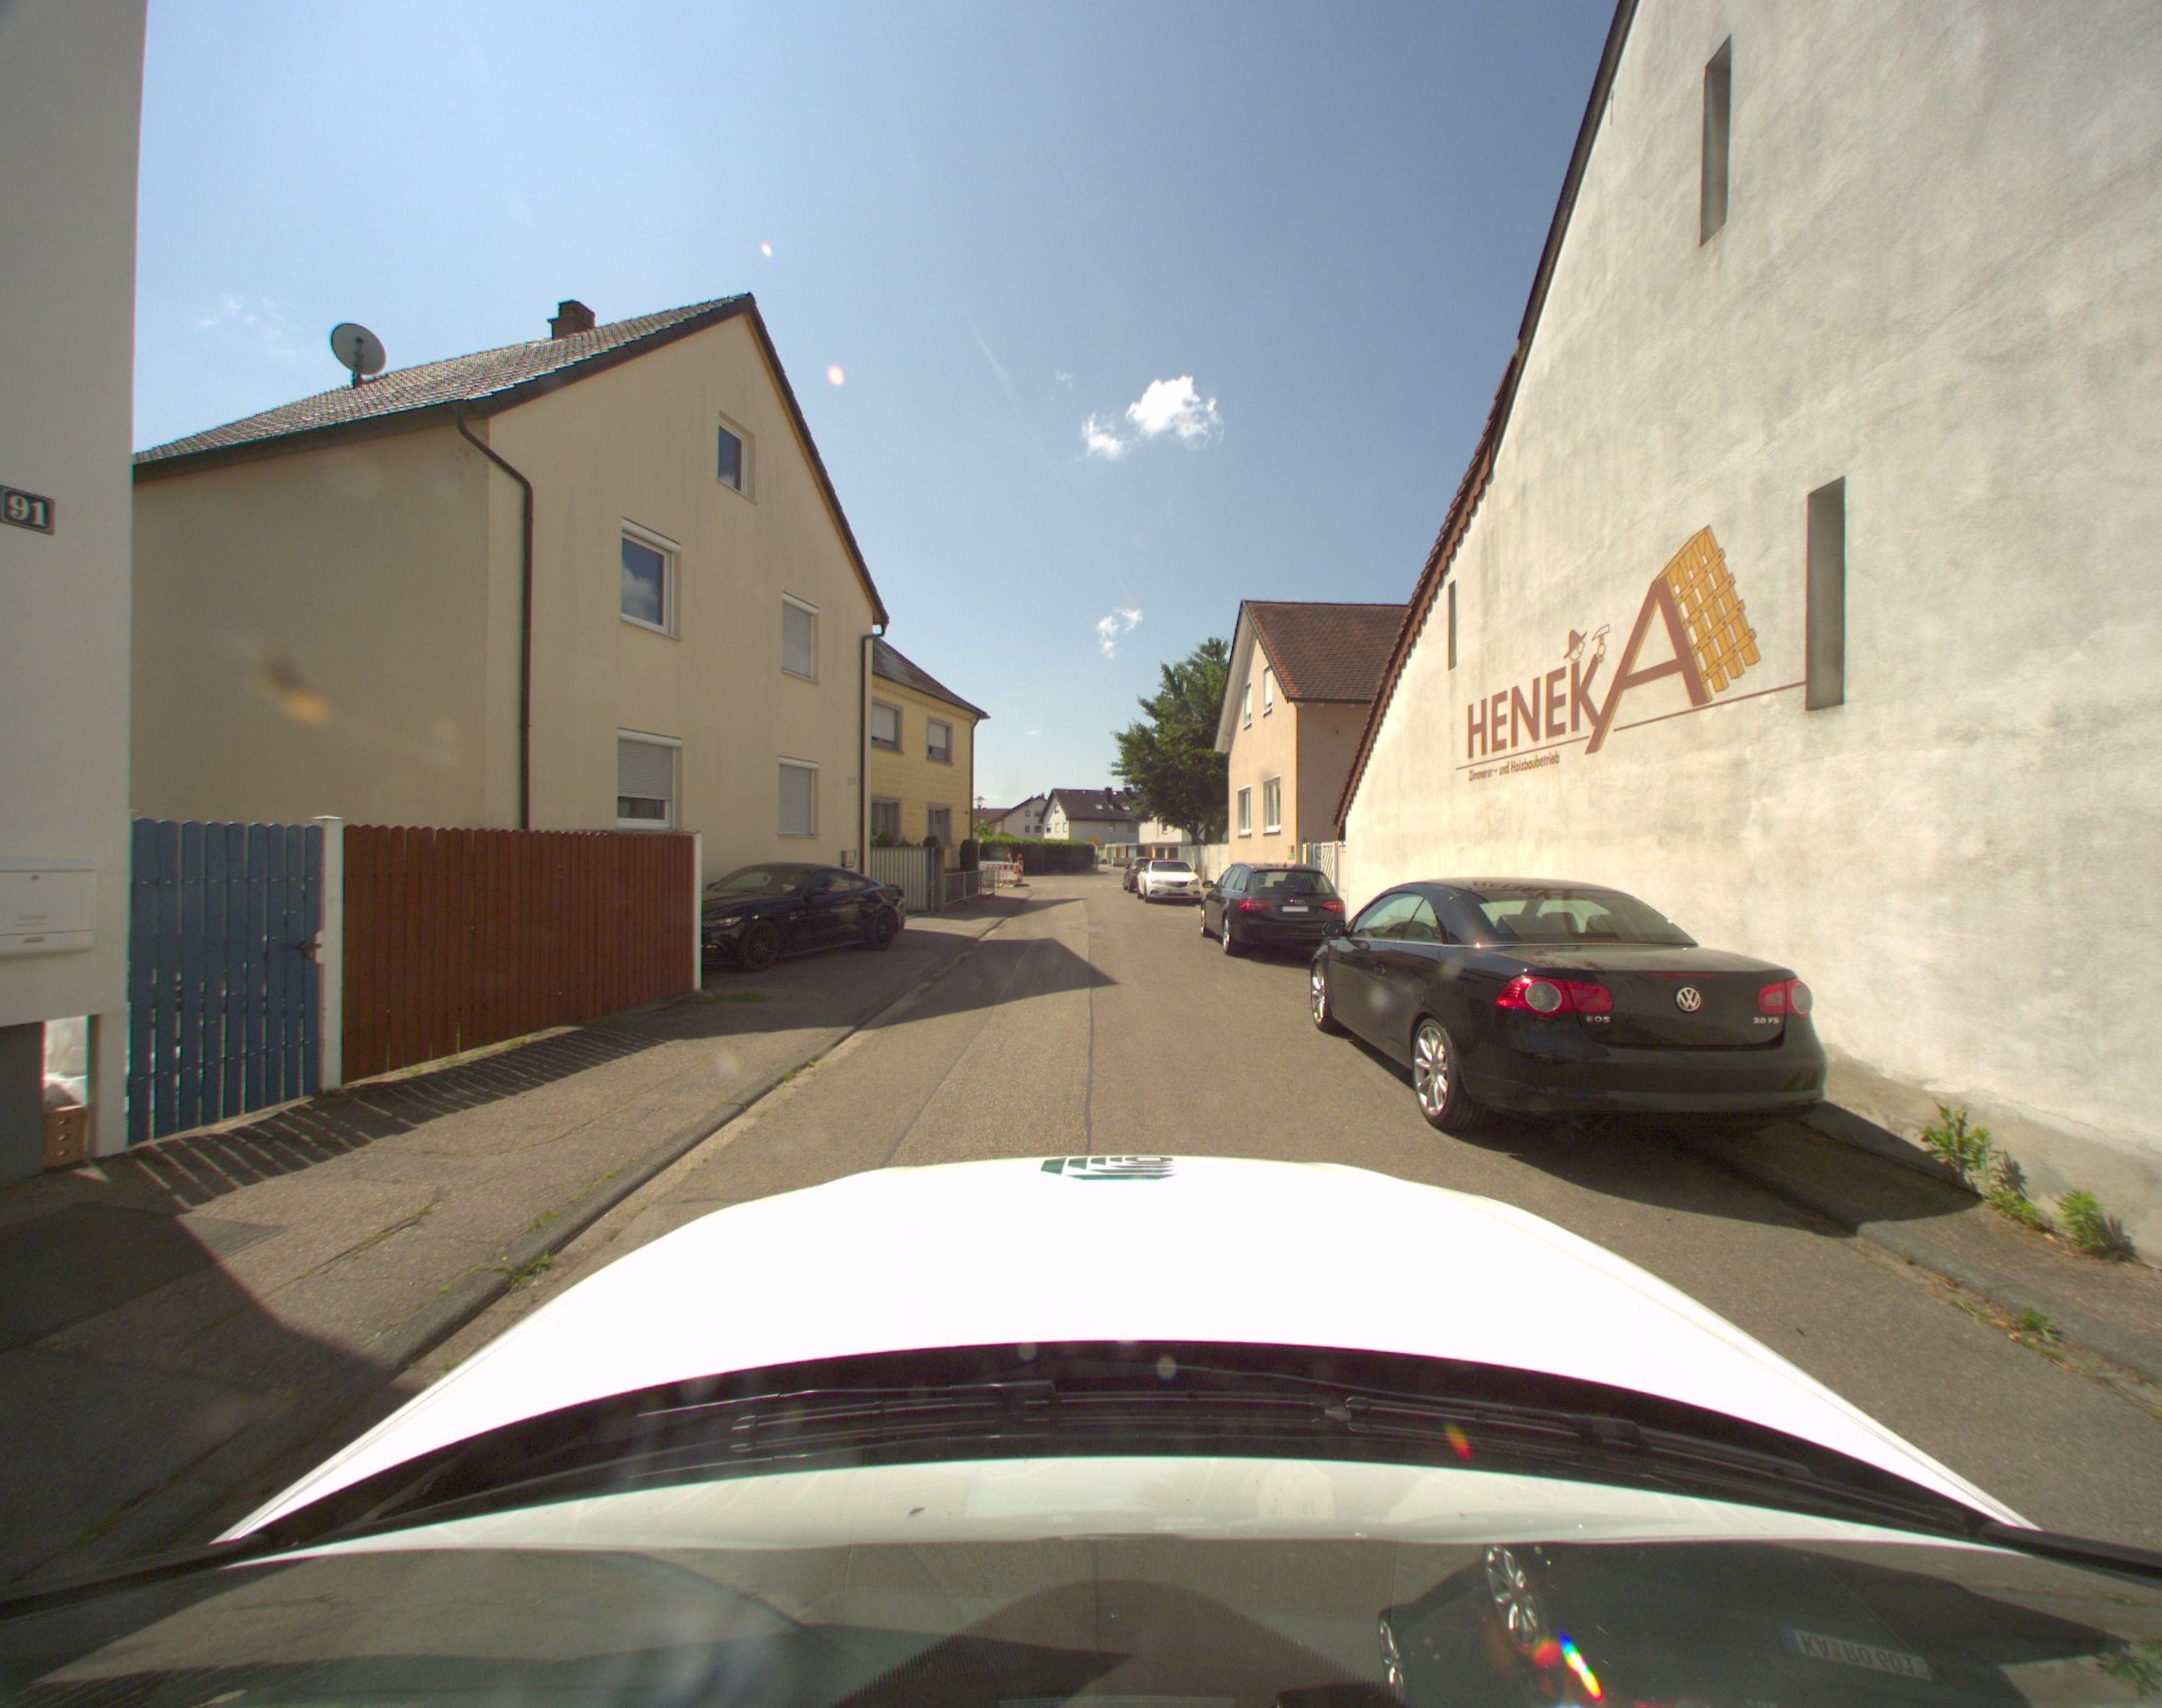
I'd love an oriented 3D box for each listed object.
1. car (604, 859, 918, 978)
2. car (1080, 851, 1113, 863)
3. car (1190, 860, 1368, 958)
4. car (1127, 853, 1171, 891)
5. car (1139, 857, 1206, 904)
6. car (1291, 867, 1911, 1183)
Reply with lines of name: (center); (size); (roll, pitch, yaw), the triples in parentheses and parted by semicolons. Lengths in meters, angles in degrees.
car: (-4.296, 0.779, 11.851); (1.755, 1.349, 4.490); (1, -1, 18)
car: (1.930, 0.392, 100.739); (3.614, 1.408, 1.771); (0, 0, -23)
car: (3.148, 0.801, 13.999); (1.889, 1.365, 4.736); (1, 0, 0)
car: (2.841, 0.732, 34.856); (1.705, 1.532, 4.038); (1, 0, 2)
car: (3.044, 0.849, 28.079); (1.889, 1.428, 4.738); (1, 0, 1)
car: (2.966, 0.823, 5.973); (1.888, 1.365, 4.417); (1, 0, 2)
